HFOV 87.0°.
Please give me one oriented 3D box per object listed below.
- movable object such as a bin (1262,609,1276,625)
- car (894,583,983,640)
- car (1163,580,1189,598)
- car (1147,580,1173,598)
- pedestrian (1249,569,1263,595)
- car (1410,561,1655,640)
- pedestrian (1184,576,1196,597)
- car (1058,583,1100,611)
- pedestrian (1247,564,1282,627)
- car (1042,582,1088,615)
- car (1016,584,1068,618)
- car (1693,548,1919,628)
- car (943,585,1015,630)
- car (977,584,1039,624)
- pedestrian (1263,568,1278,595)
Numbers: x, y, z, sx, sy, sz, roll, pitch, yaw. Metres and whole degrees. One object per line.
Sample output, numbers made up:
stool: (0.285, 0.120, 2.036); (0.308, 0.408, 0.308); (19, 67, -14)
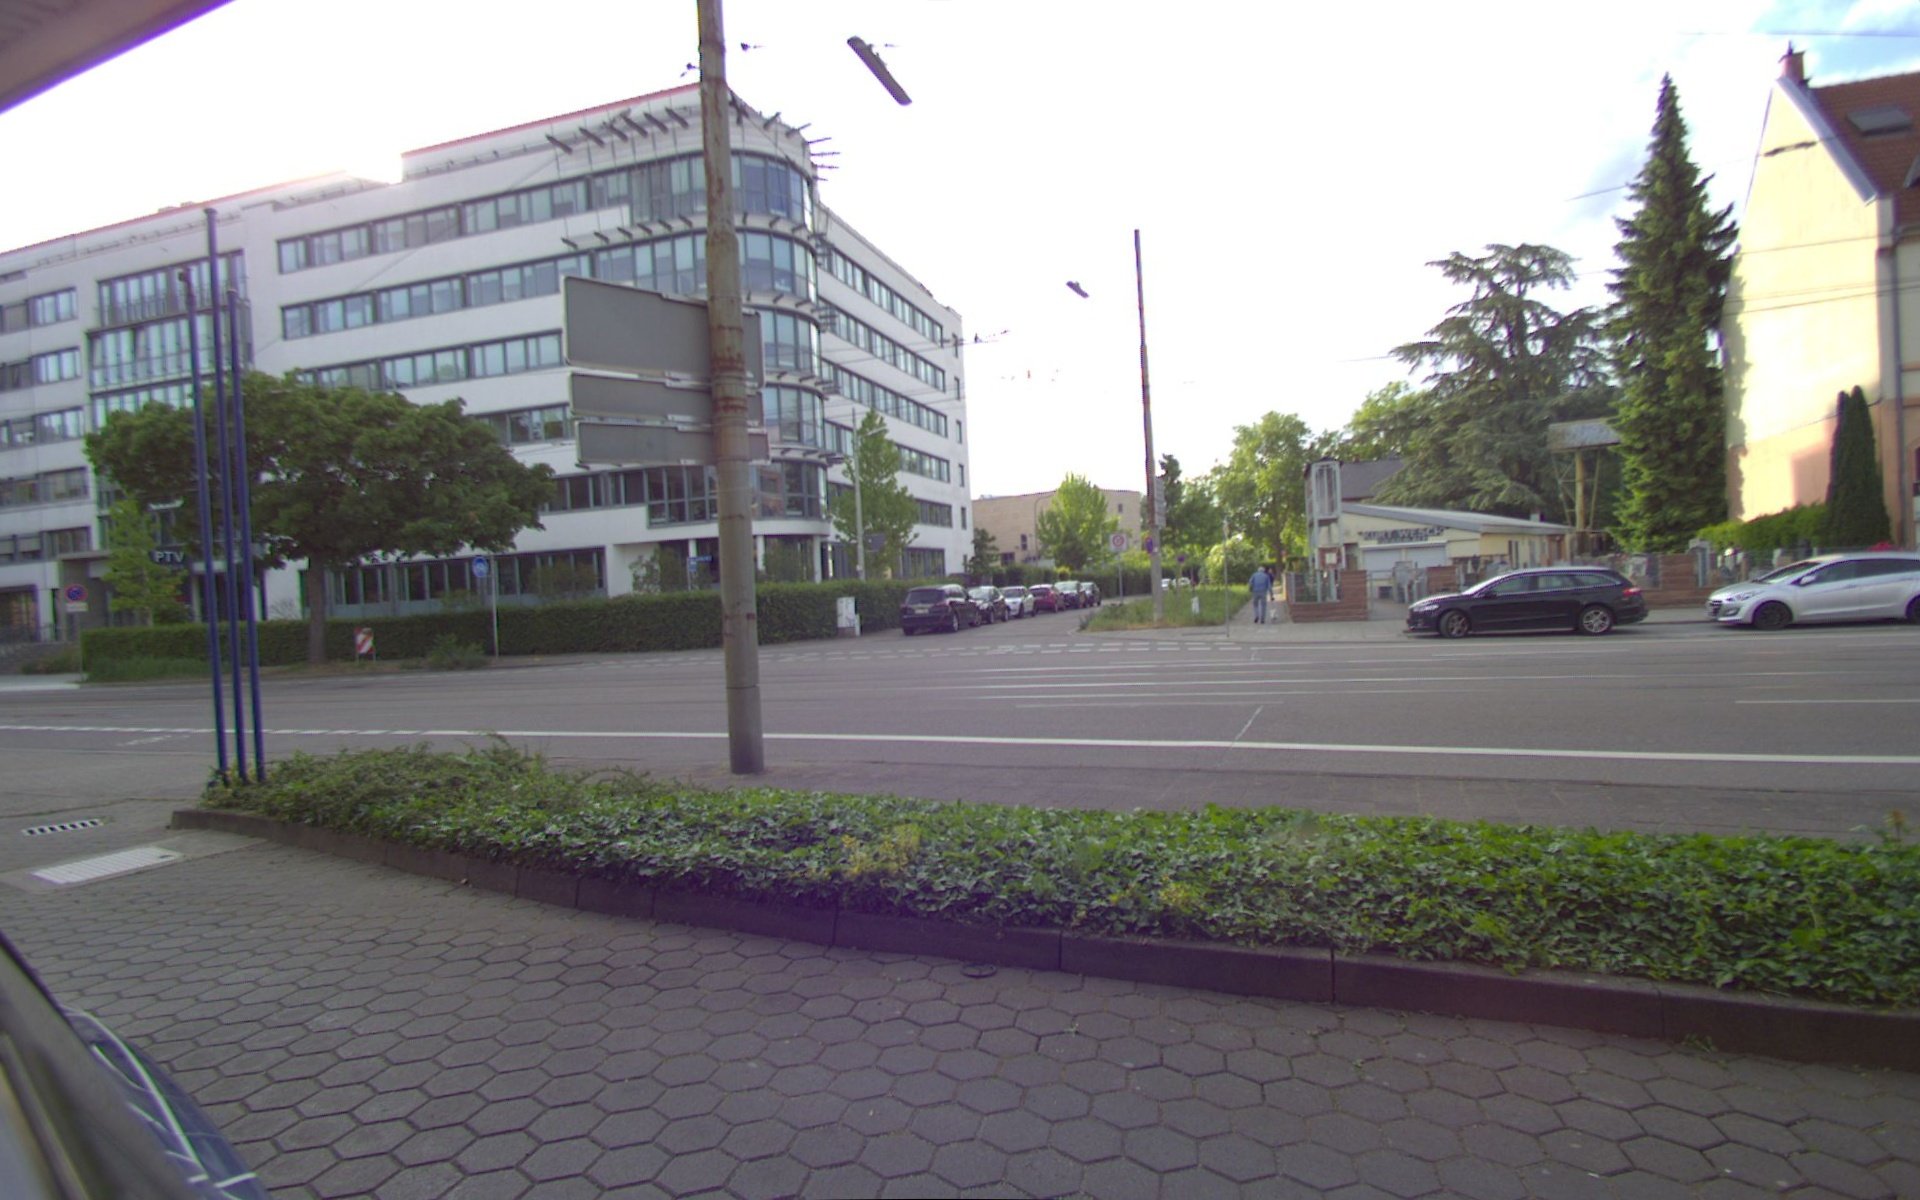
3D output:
movable object such as a bin: (9.075, 0.507, 29.742); (0.363, 0.397, 0.660); (-3, 4, 15)
car: (-0.686, 0.355, 35.572); (1.807, 1.701, 4.370); (-4, 1, 16)
car: (22.840, -1.153, 106.858); (1.813, 1.654, 4.040); (-4, 0, 25)
car: (19.963, -1.133, 100.912); (1.811, 1.654, 4.044); (-4, 0, 22)
pedestrian: (21.809, -1.328, 74.588); (0.965, 1.896, 1.056); (-1, 0, 17)
car: (13.013, 0.007, 23.372); (4.632, 1.533, 1.842); (-3, 2, 22)
pedestrian: (20.704, -1.190, 91.095); (0.967, 1.896, 1.054); (-1, 0, 21)
car: (7.388, -0.214, 62.576); (1.807, 1.585, 4.052); (-4, 0, 16)
pedestrian: (8.831, -0.128, 29.349); (0.902, 1.711, 0.920); (-2, 6, 19)
car: (6.033, -0.137, 57.810); (1.807, 1.704, 4.392); (-4, 0, 16)
car: (4.302, 0.021, 52.413); (1.807, 1.589, 4.175); (-4, 0, 16)
car: (18.406, -0.268, 21.402); (4.349, 1.493, 1.732); (-3, 1, 22)
car: (0.832, 0.269, 40.987); (1.807, 1.589, 4.175); (-4, 0, 16)
car: (2.225, 0.150, 45.691); (1.807, 1.589, 4.175); (-4, 0, 16)
pedestrian: (22.783, -1.341, 74.298); (0.965, 1.896, 1.056); (-1, 0, 17)
